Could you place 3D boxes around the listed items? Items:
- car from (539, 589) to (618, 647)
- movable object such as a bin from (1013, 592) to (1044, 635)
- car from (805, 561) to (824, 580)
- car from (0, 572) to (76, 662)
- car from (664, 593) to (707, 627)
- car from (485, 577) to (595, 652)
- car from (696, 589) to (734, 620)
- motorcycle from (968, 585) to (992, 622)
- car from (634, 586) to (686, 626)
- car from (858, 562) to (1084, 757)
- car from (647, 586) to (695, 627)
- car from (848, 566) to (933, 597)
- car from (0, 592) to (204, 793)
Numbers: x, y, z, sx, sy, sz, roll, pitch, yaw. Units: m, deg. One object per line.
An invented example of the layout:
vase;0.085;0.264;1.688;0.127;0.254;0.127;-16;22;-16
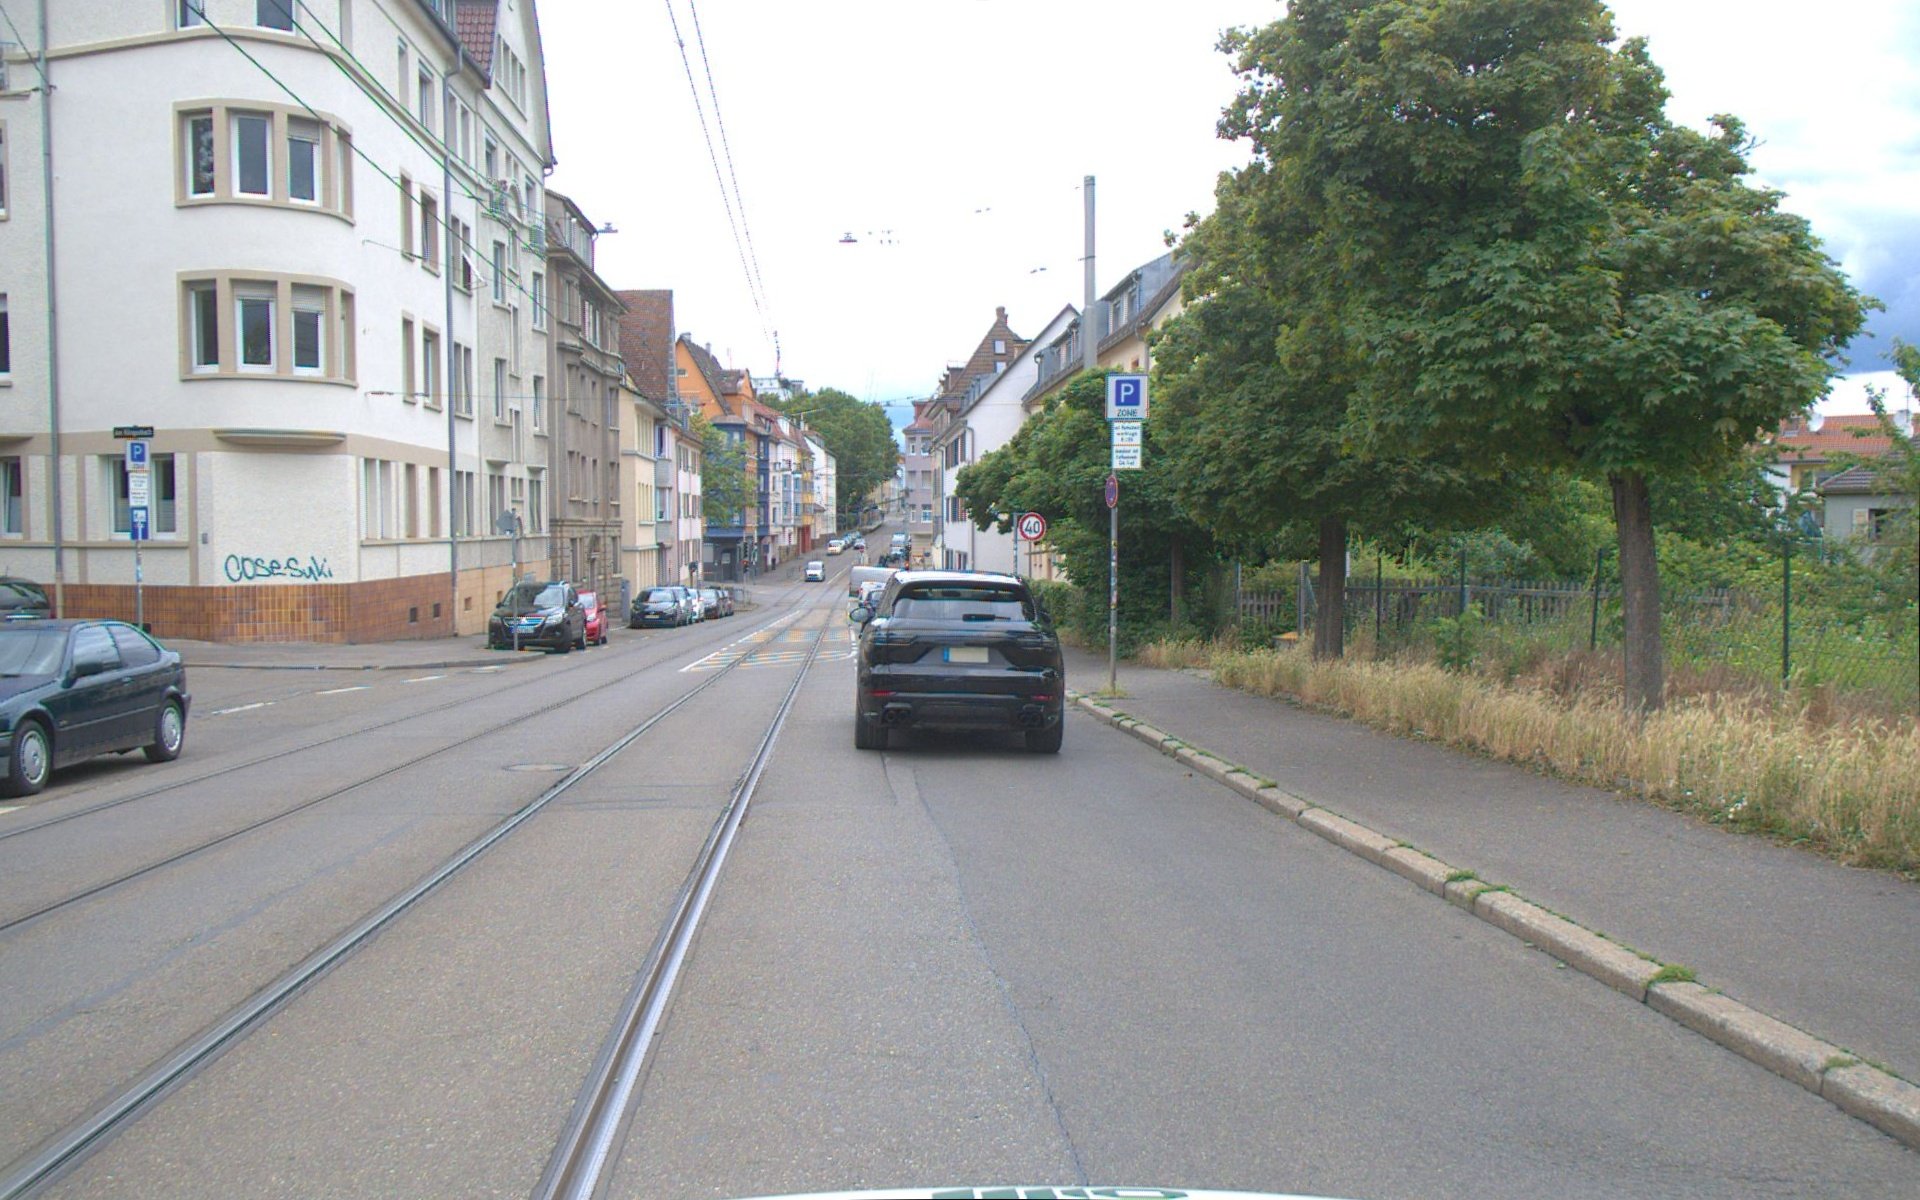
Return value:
car;-10.403;0.489;45.298;1.589;1.489;3.741;-1;0;-5
movable object such as a bin;2.015;0.389;48.759;0.777;1.239;0.788;0;0;-8
car;-14.338;-2.915;163.045;1.716;1.790;4.251;0;0;-3
car;-18.662;0.294;30.768;3.906;1.599;1.876;0;0;22
car;-12.386;0.448;74.823;1.589;1.489;3.681;-1;0;-5
car;-9.971;0.349;39.585;1.831;1.674;4.397;-1;0;-5
car;-12.277;0.248;83.197;1.589;1.499;4.551;-1;0;-5
motorcycle;0.827;0.143;67.645;0.821;1.482;2.551;0;0;-3
car;-11.573;0.249;63.906;1.589;1.489;4.028;-1;0;-5
car;-0.020;0.515;16.539;1.954;1.705;3.997;0;0;-4
car;-11.971;0.292;68.713;1.589;1.632;4.346;-1;0;-5
car;-5.293;-1.369;125.278;6.155;2.330;2.200;0;0;25
car;-8.170;0.728;14.373;1.589;1.503;4.152;-1;0;-5
